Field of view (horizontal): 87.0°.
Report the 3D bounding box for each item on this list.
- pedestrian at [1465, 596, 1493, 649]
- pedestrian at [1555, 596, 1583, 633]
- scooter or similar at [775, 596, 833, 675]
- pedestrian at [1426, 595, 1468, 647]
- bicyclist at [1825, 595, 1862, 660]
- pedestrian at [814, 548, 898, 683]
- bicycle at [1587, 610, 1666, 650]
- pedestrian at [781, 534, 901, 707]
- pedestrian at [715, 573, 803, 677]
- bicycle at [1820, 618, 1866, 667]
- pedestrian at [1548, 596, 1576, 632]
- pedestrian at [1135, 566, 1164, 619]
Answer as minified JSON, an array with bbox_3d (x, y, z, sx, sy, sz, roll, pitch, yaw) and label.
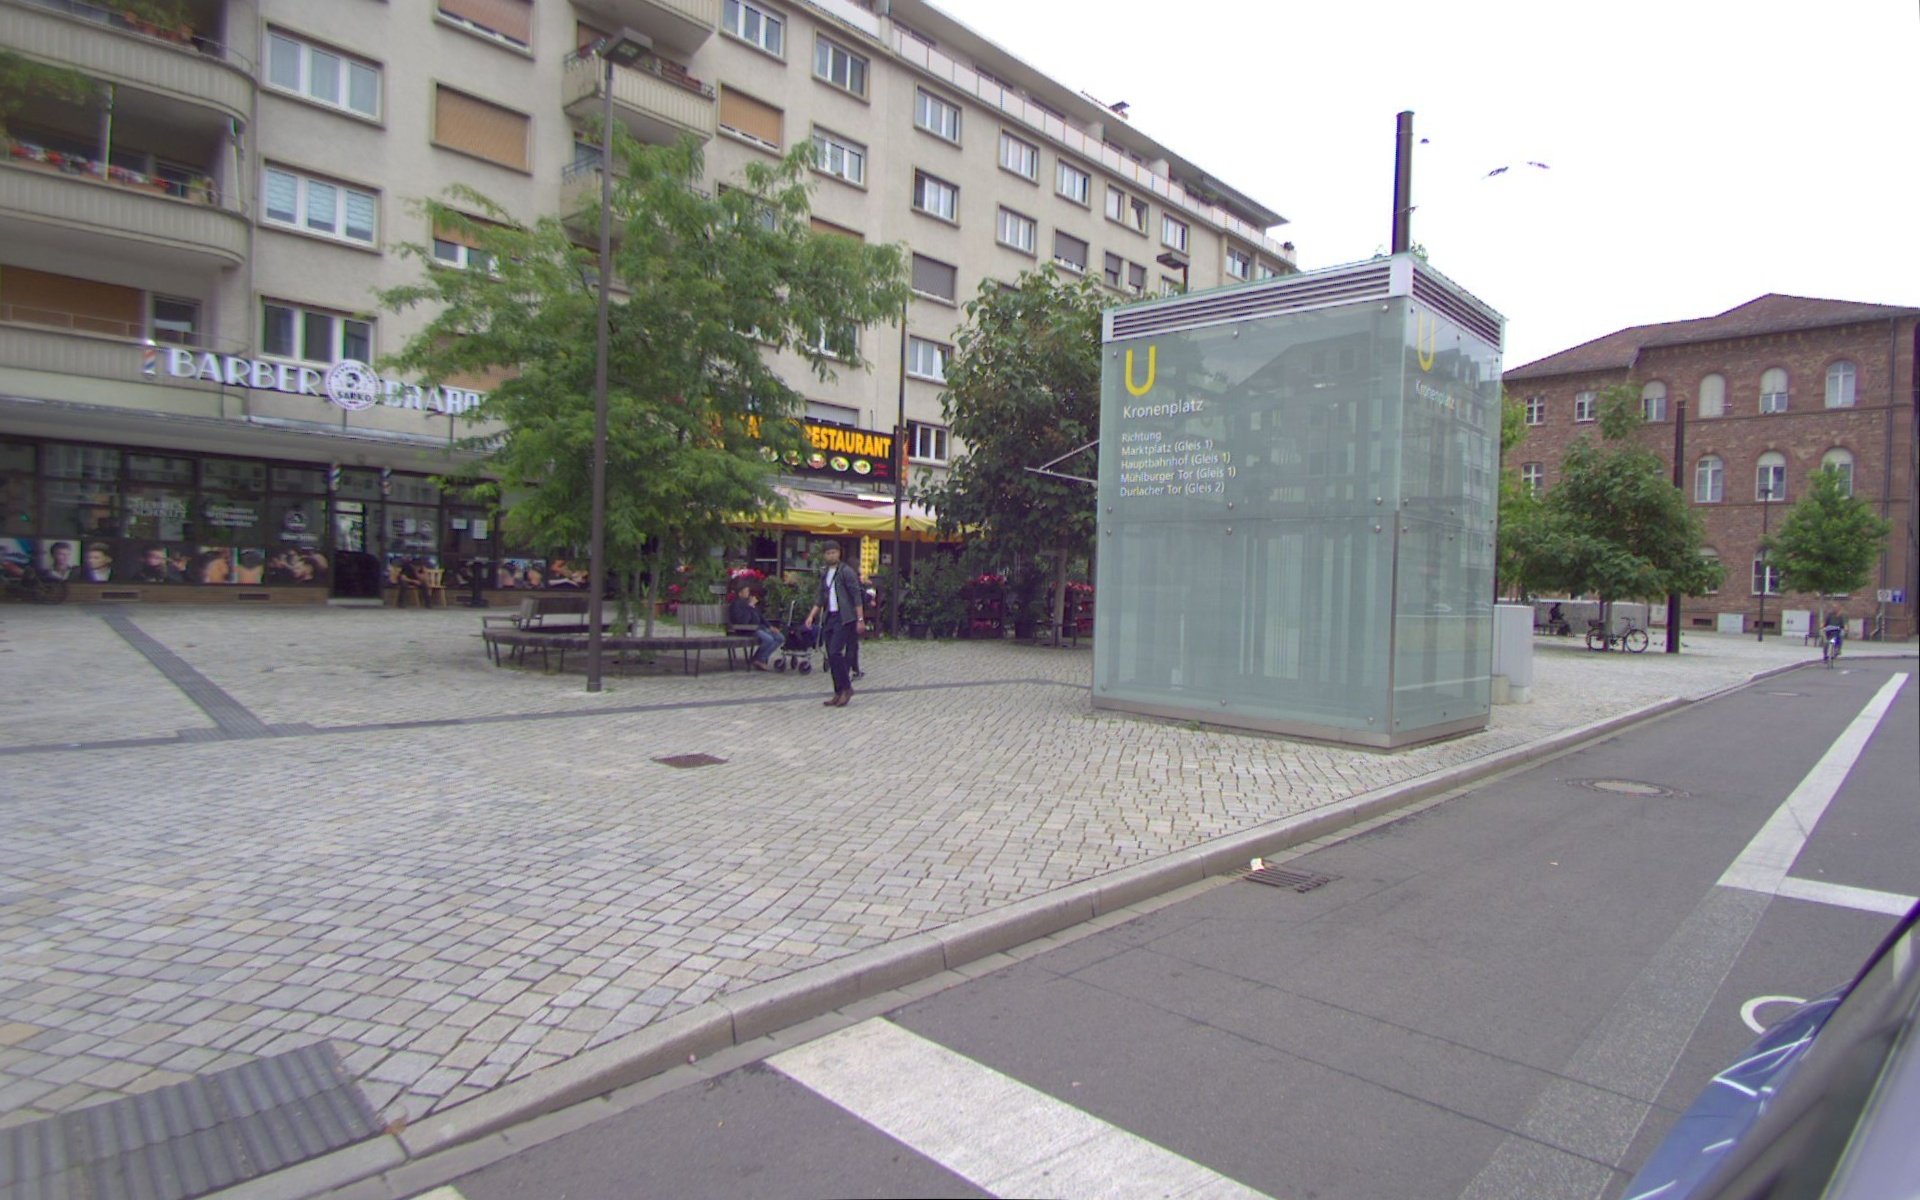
[{"bbox_3d":[13.984,0.601,27.278,0.624,1.383,0.681,1,0,26],"label":"pedestrian"},{"bbox_3d":[25.936,0.613,43.117,0.769,1.473,0.765,4,2,16],"label":"pedestrian"},{"bbox_3d":[-2.168,0.468,14.231,0.710,0.960,1.595,2,2,-7],"label":"scooter or similar"},{"bbox_3d":[13.285,0.567,27.612,0.900,1.383,0.631,1,0,-28],"label":"pedestrian"},{"bbox_3d":[23.899,0.734,27.382,0.779,1.705,0.571,1,0,-37],"label":"bicyclist"},{"bbox_3d":[-1.376,0.187,13.401,0.625,1.705,0.857,4,2,41],"label":"pedestrian"},{"bbox_3d":[20.348,0.898,30.934,0.632,1.137,1.921,1,0,-34],"label":"bicycle"},{"bbox_3d":[-1.337,0.205,11.446,0.714,1.824,1.061,6,4,44],"label":"pedestrian"},{"bbox_3d":[-2.743,0.317,13.762,0.720,1.313,1.047,1,2,-39],"label":"pedestrian"},{"bbox_3d":[23.940,1.135,27.438,1.905,1.276,0.524,1,1,-37],"label":"bicycle"},{"bbox_3d":[26.135,0.597,43.934,0.769,1.473,0.765,4,2,16],"label":"pedestrian"},{"bbox_3d":[7.013,-0.281,37.403,0.835,1.909,0.777,1,0,-6],"label":"pedestrian"}]
